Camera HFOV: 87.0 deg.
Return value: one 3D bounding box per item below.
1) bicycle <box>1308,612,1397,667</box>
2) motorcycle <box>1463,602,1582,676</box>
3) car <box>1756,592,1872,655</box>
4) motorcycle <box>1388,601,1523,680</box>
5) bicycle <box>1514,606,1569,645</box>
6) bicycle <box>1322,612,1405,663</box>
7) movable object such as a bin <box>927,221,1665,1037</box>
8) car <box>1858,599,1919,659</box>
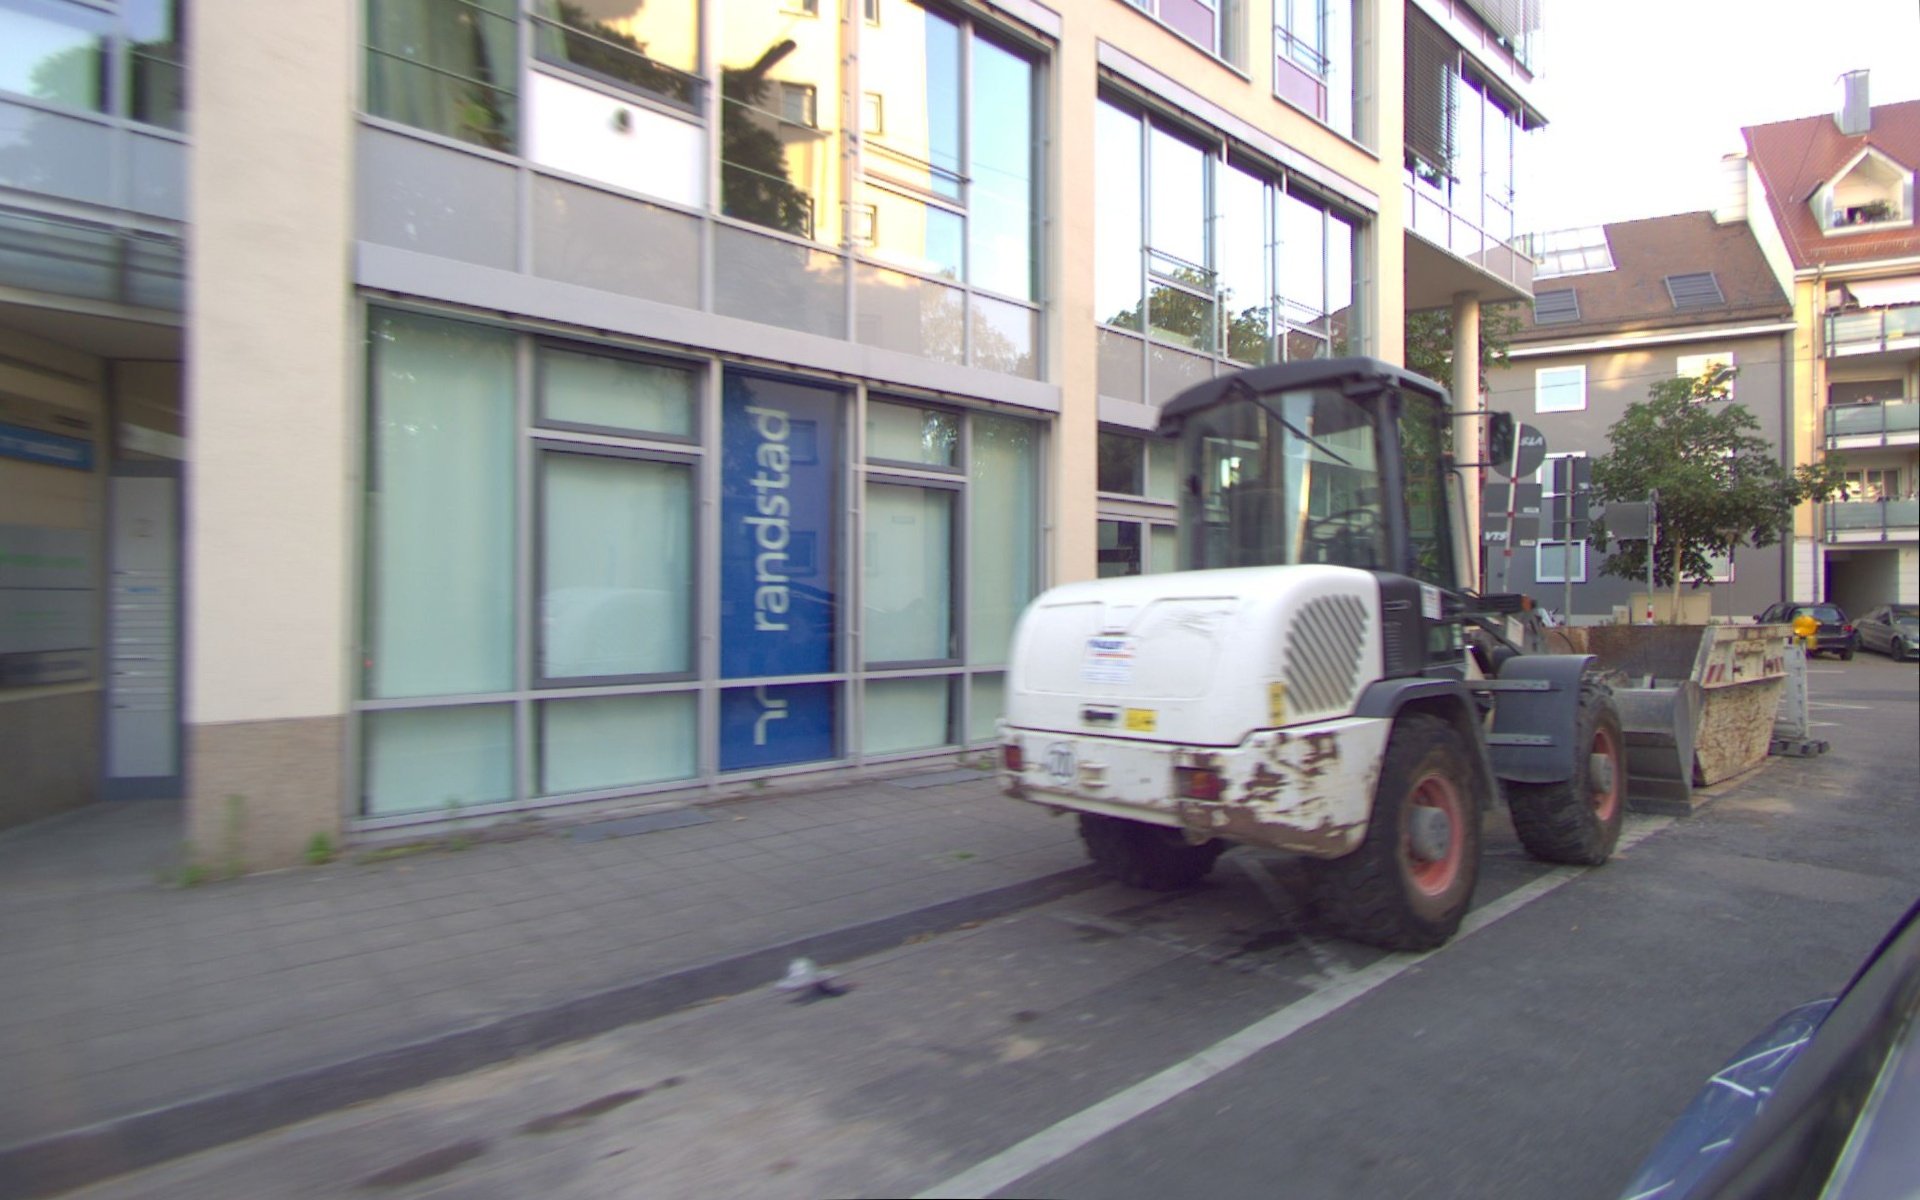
[{"bbox_3d":[8.621,0.857,22.253,1.782,1.132,0.597,1,0,27],"label":"bicycle"},{"bbox_3d":[11.807,0.779,21.361,0.785,1.459,2.384,1,0,-13],"label":"motorcycle"},{"bbox_3d":[23.604,0.598,28.094,1.729,1.545,3.331,0,2,27],"label":"car"},{"bbox_3d":[8.756,0.691,17.948,2.104,1.290,0.610,1,0,26],"label":"motorcycle"},{"bbox_3d":[18.650,0.807,32.473,1.486,1.186,0.722,0,4,28],"label":"bicycle"},{"bbox_3d":[9.581,0.868,24.048,1.782,1.132,0.597,1,0,27],"label":"bicycle"},{"bbox_3d":[1.970,0.086,5.296,4.037,2.668,1.800,0,0,-39],"label":"movable object such as a bin"},{"bbox_3d":[26.034,0.742,27.080,1.852,1.527,4.256,0,0,25],"label":"car"}]
